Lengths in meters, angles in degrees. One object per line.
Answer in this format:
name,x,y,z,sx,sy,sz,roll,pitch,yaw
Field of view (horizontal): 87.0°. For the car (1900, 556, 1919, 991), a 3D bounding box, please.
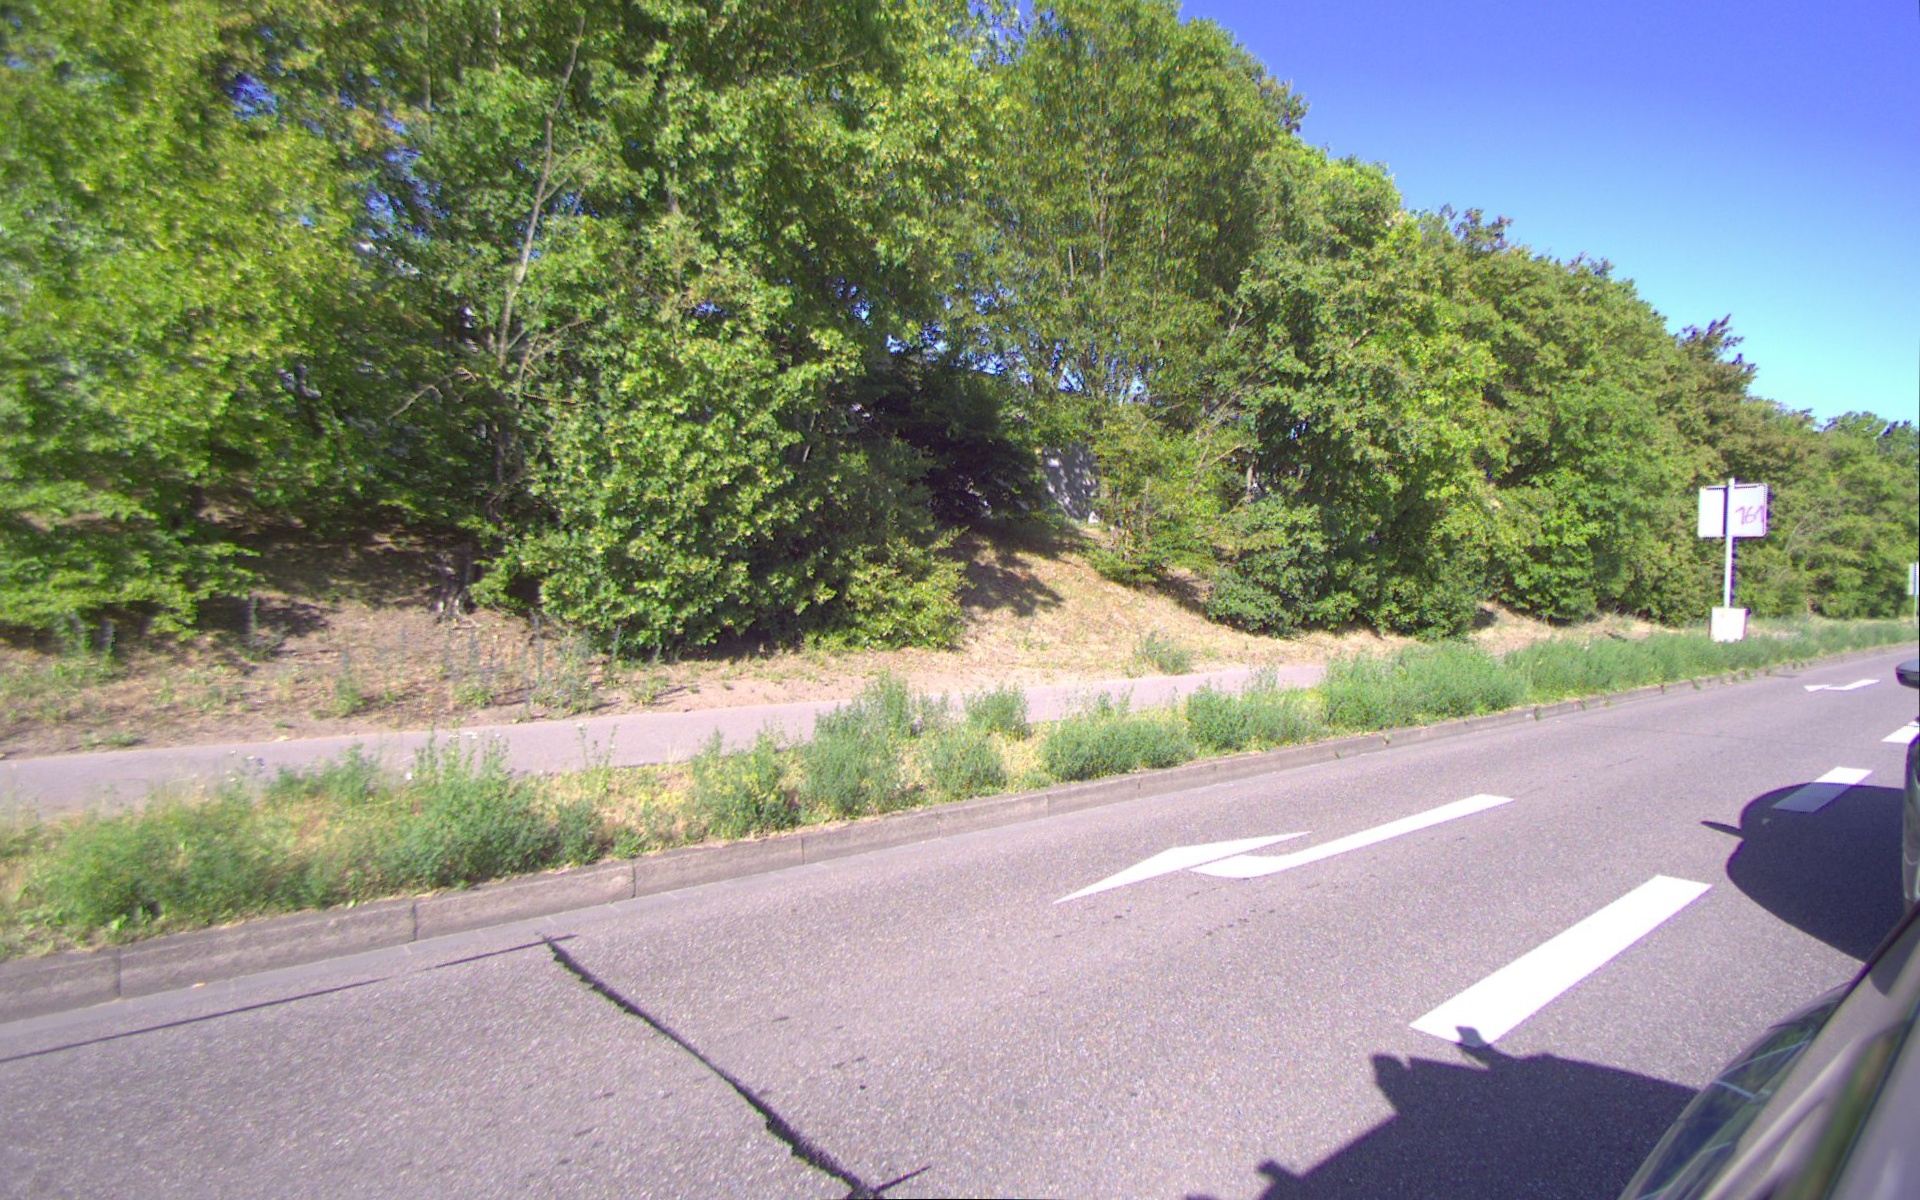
car,5.594,0.659,4.350,3.863,1.617,1.869,0,0,-41
